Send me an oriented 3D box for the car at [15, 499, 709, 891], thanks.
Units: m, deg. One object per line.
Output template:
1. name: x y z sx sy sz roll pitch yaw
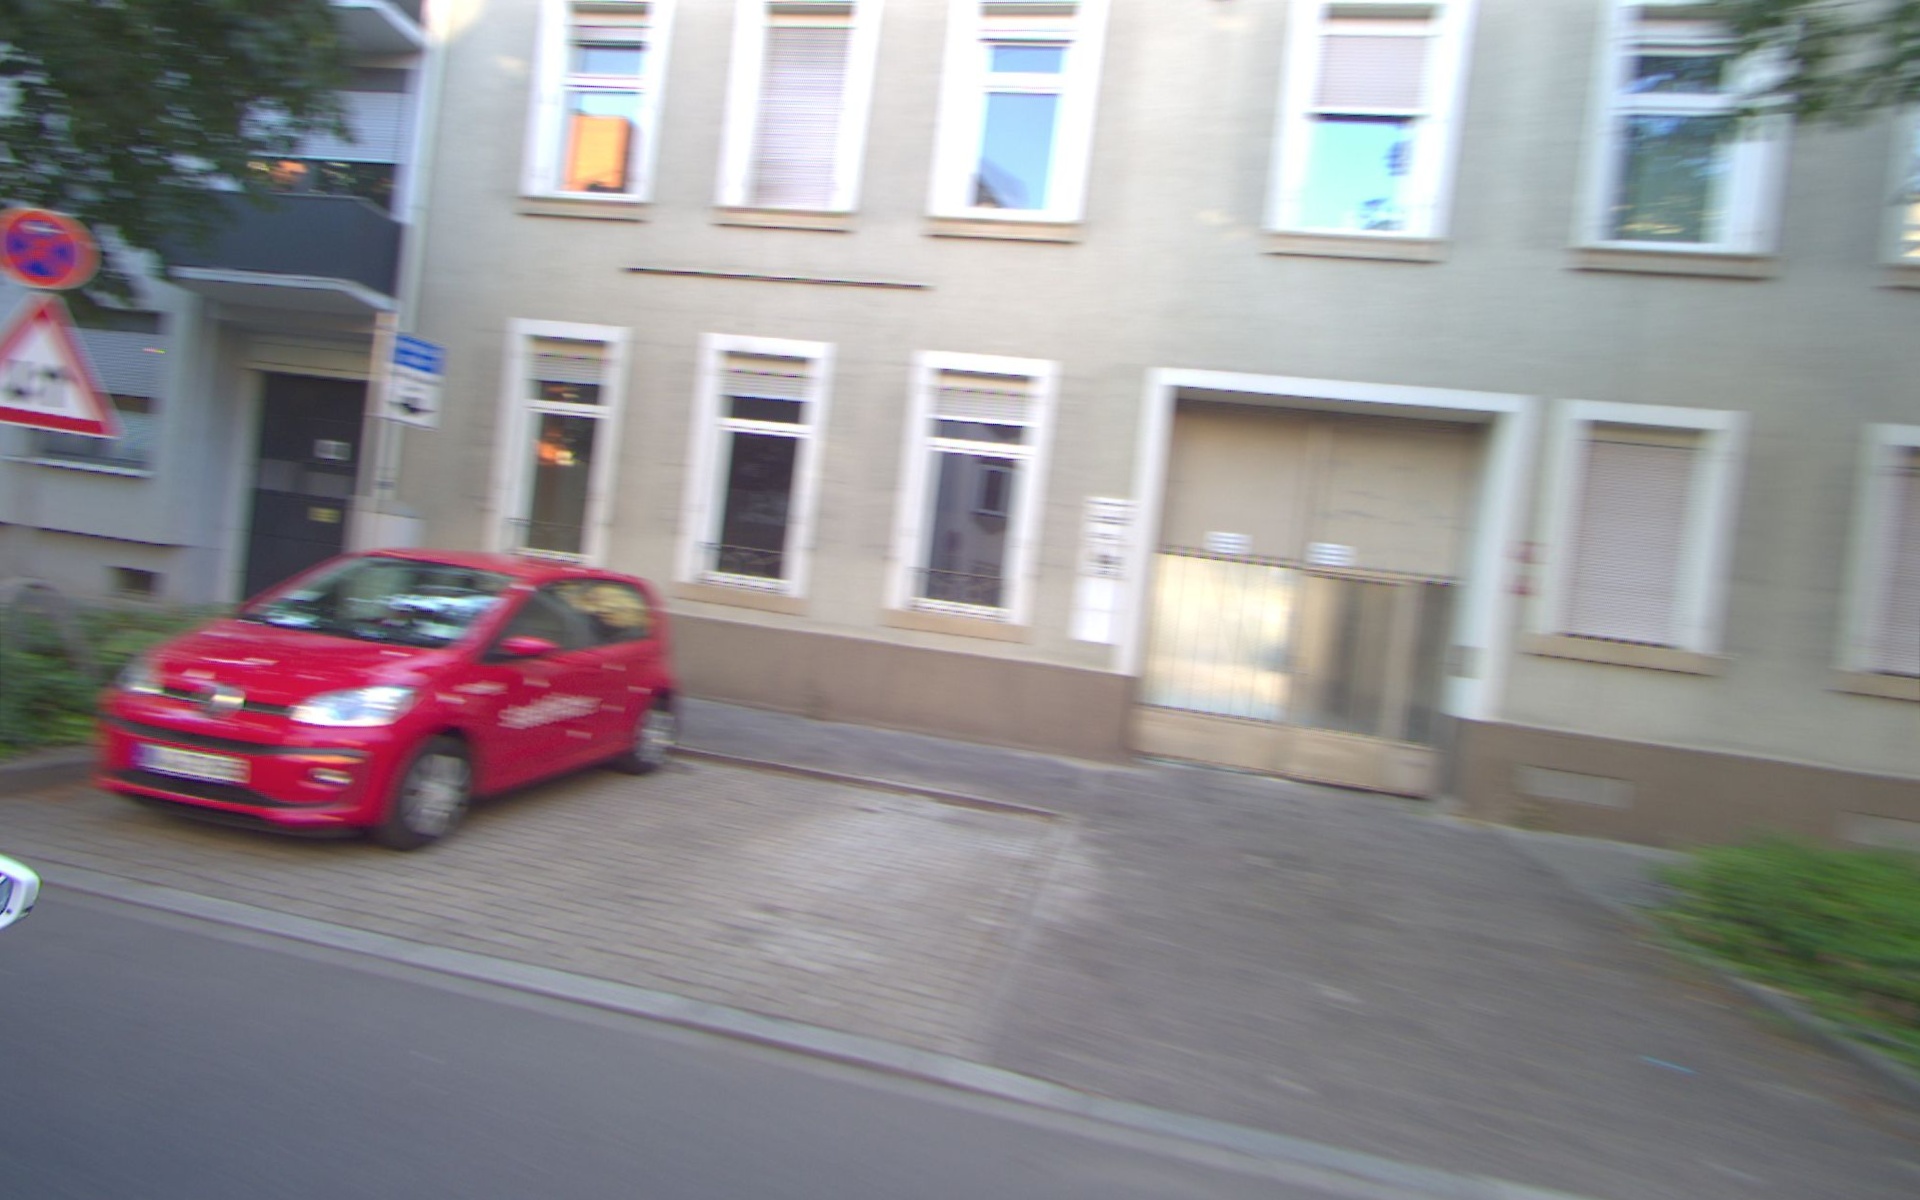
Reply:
1. car: -3.082 0.427 6.154 1.536 1.494 3.669 7 0 9
